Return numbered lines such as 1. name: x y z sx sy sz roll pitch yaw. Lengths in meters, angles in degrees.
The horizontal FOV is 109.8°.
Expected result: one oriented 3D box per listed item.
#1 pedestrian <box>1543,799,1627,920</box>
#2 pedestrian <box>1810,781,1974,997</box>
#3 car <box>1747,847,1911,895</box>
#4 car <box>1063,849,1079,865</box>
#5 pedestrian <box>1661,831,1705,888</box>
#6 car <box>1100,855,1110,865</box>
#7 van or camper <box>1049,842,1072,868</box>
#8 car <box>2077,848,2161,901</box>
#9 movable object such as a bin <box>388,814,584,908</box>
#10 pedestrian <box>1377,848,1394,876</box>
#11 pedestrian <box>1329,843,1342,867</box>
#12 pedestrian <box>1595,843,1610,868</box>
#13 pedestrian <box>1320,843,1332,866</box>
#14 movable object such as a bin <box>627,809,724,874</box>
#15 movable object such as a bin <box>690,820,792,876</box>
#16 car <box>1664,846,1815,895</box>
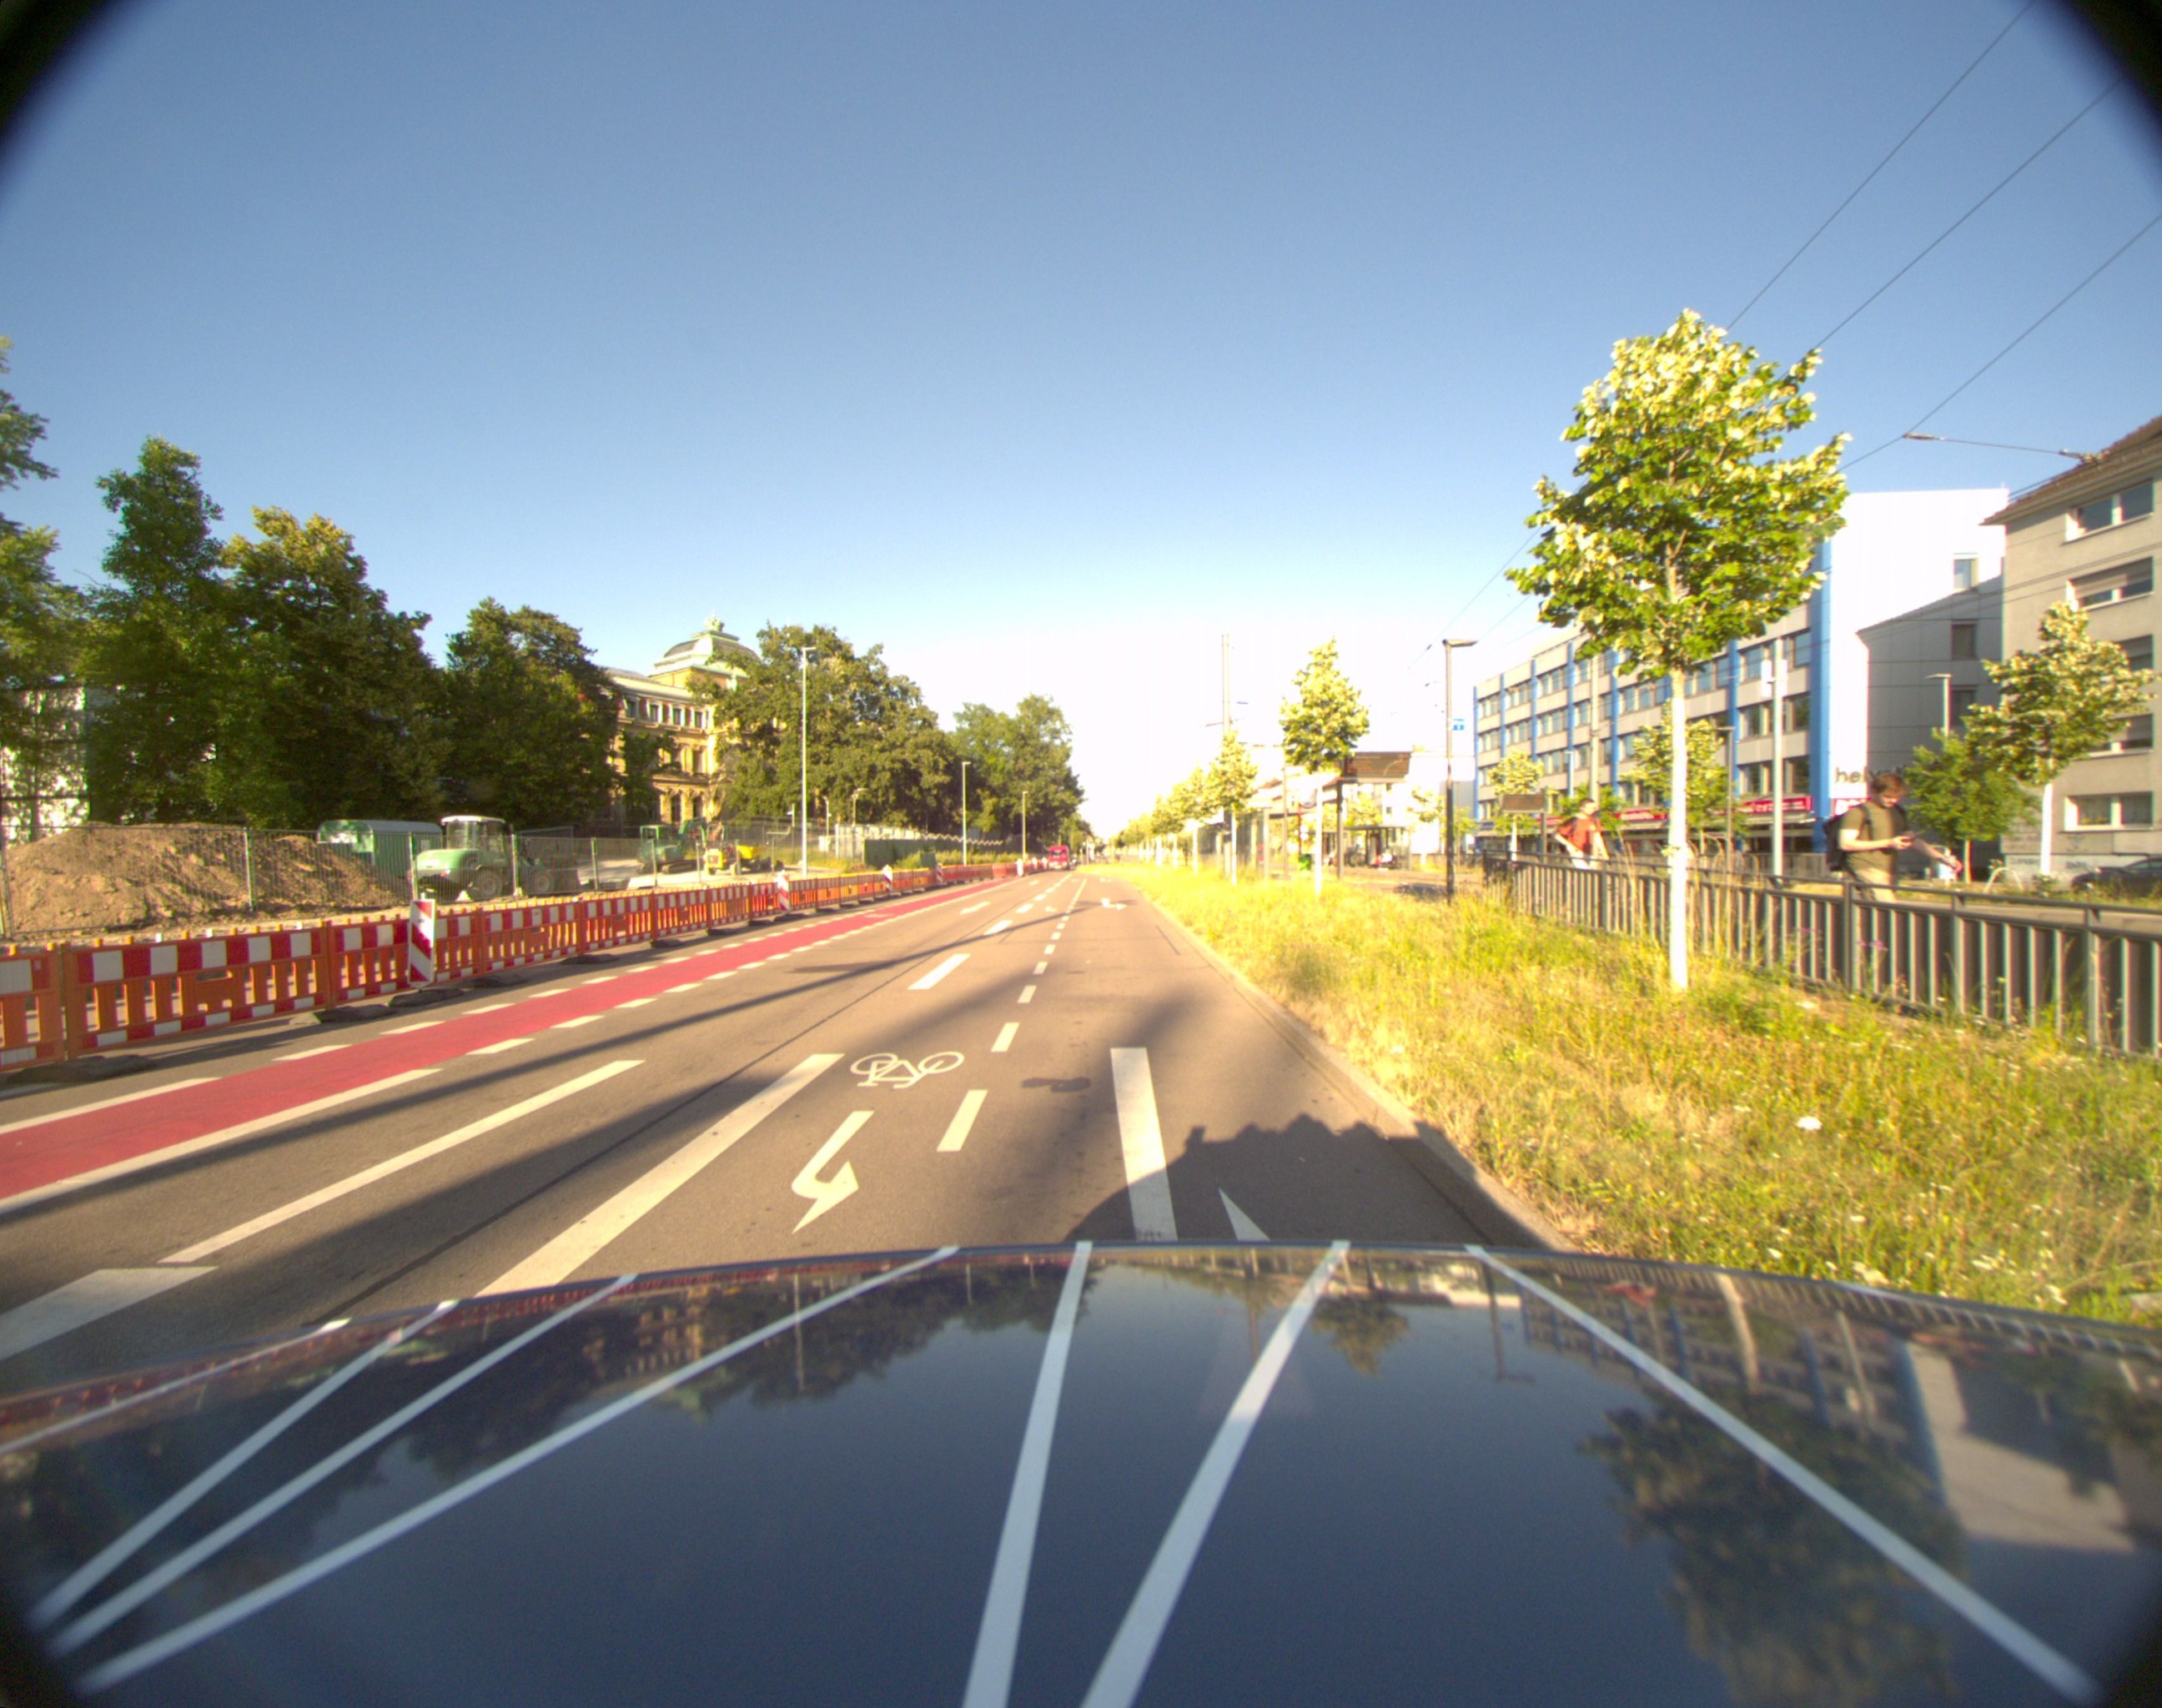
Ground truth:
1. pedestrian: 7.278 0.077 10.997 0.787 1.689 0.619 -2 1 4
2. pedestrian: 7.321 0.306 6.890 0.787 1.853 0.619 -2 1 4
3. car: 26.044 0.538 26.682 1.886 1.499 3.942 -2 1 1
4. car: -1.276 0.330 100.520 1.998 2.002 3.999 -2 1 1
5. pedestrian: 17.967 0.155 22.680 0.787 1.663 0.619 -2 1 4
6. car: 5.076 1.266 160.207 1.998 2.002 3.999 -2 1 1
7. van or camper: -2.045 0.072 76.498 1.998 2.514 5.913 -2 1 1
8. car: 33.166 0.621 22.754 1.886 1.499 3.674 -2 1 1
9. movable object such as a bin: -19.047 0.170 24.728 1.998 2.668 5.015 -2 1 5
10. pedestrian: 18.253 0.469 45.623 0.660 1.682 0.772 -2 1 -1
11. pedestrian: 18.606 0.072 55.552 0.659 1.682 0.772 -2 1 7
12. pedestrian: 36.947 0.124 53.857 0.645 1.736 0.599 -2 1 7
13. pedestrian: 18.661 0.044 57.857 0.659 1.682 0.772 -2 1 4
14. movable object such as a bin: -22.429 -0.688 42.317 1.998 3.310 5.376 -2 1 5
15. movable object such as a bin: -18.649 -0.352 42.082 1.997 2.800 5.871 -2 1 11
16. car: 22.817 0.516 26.547 1.886 1.499 3.942 -2 1 1
